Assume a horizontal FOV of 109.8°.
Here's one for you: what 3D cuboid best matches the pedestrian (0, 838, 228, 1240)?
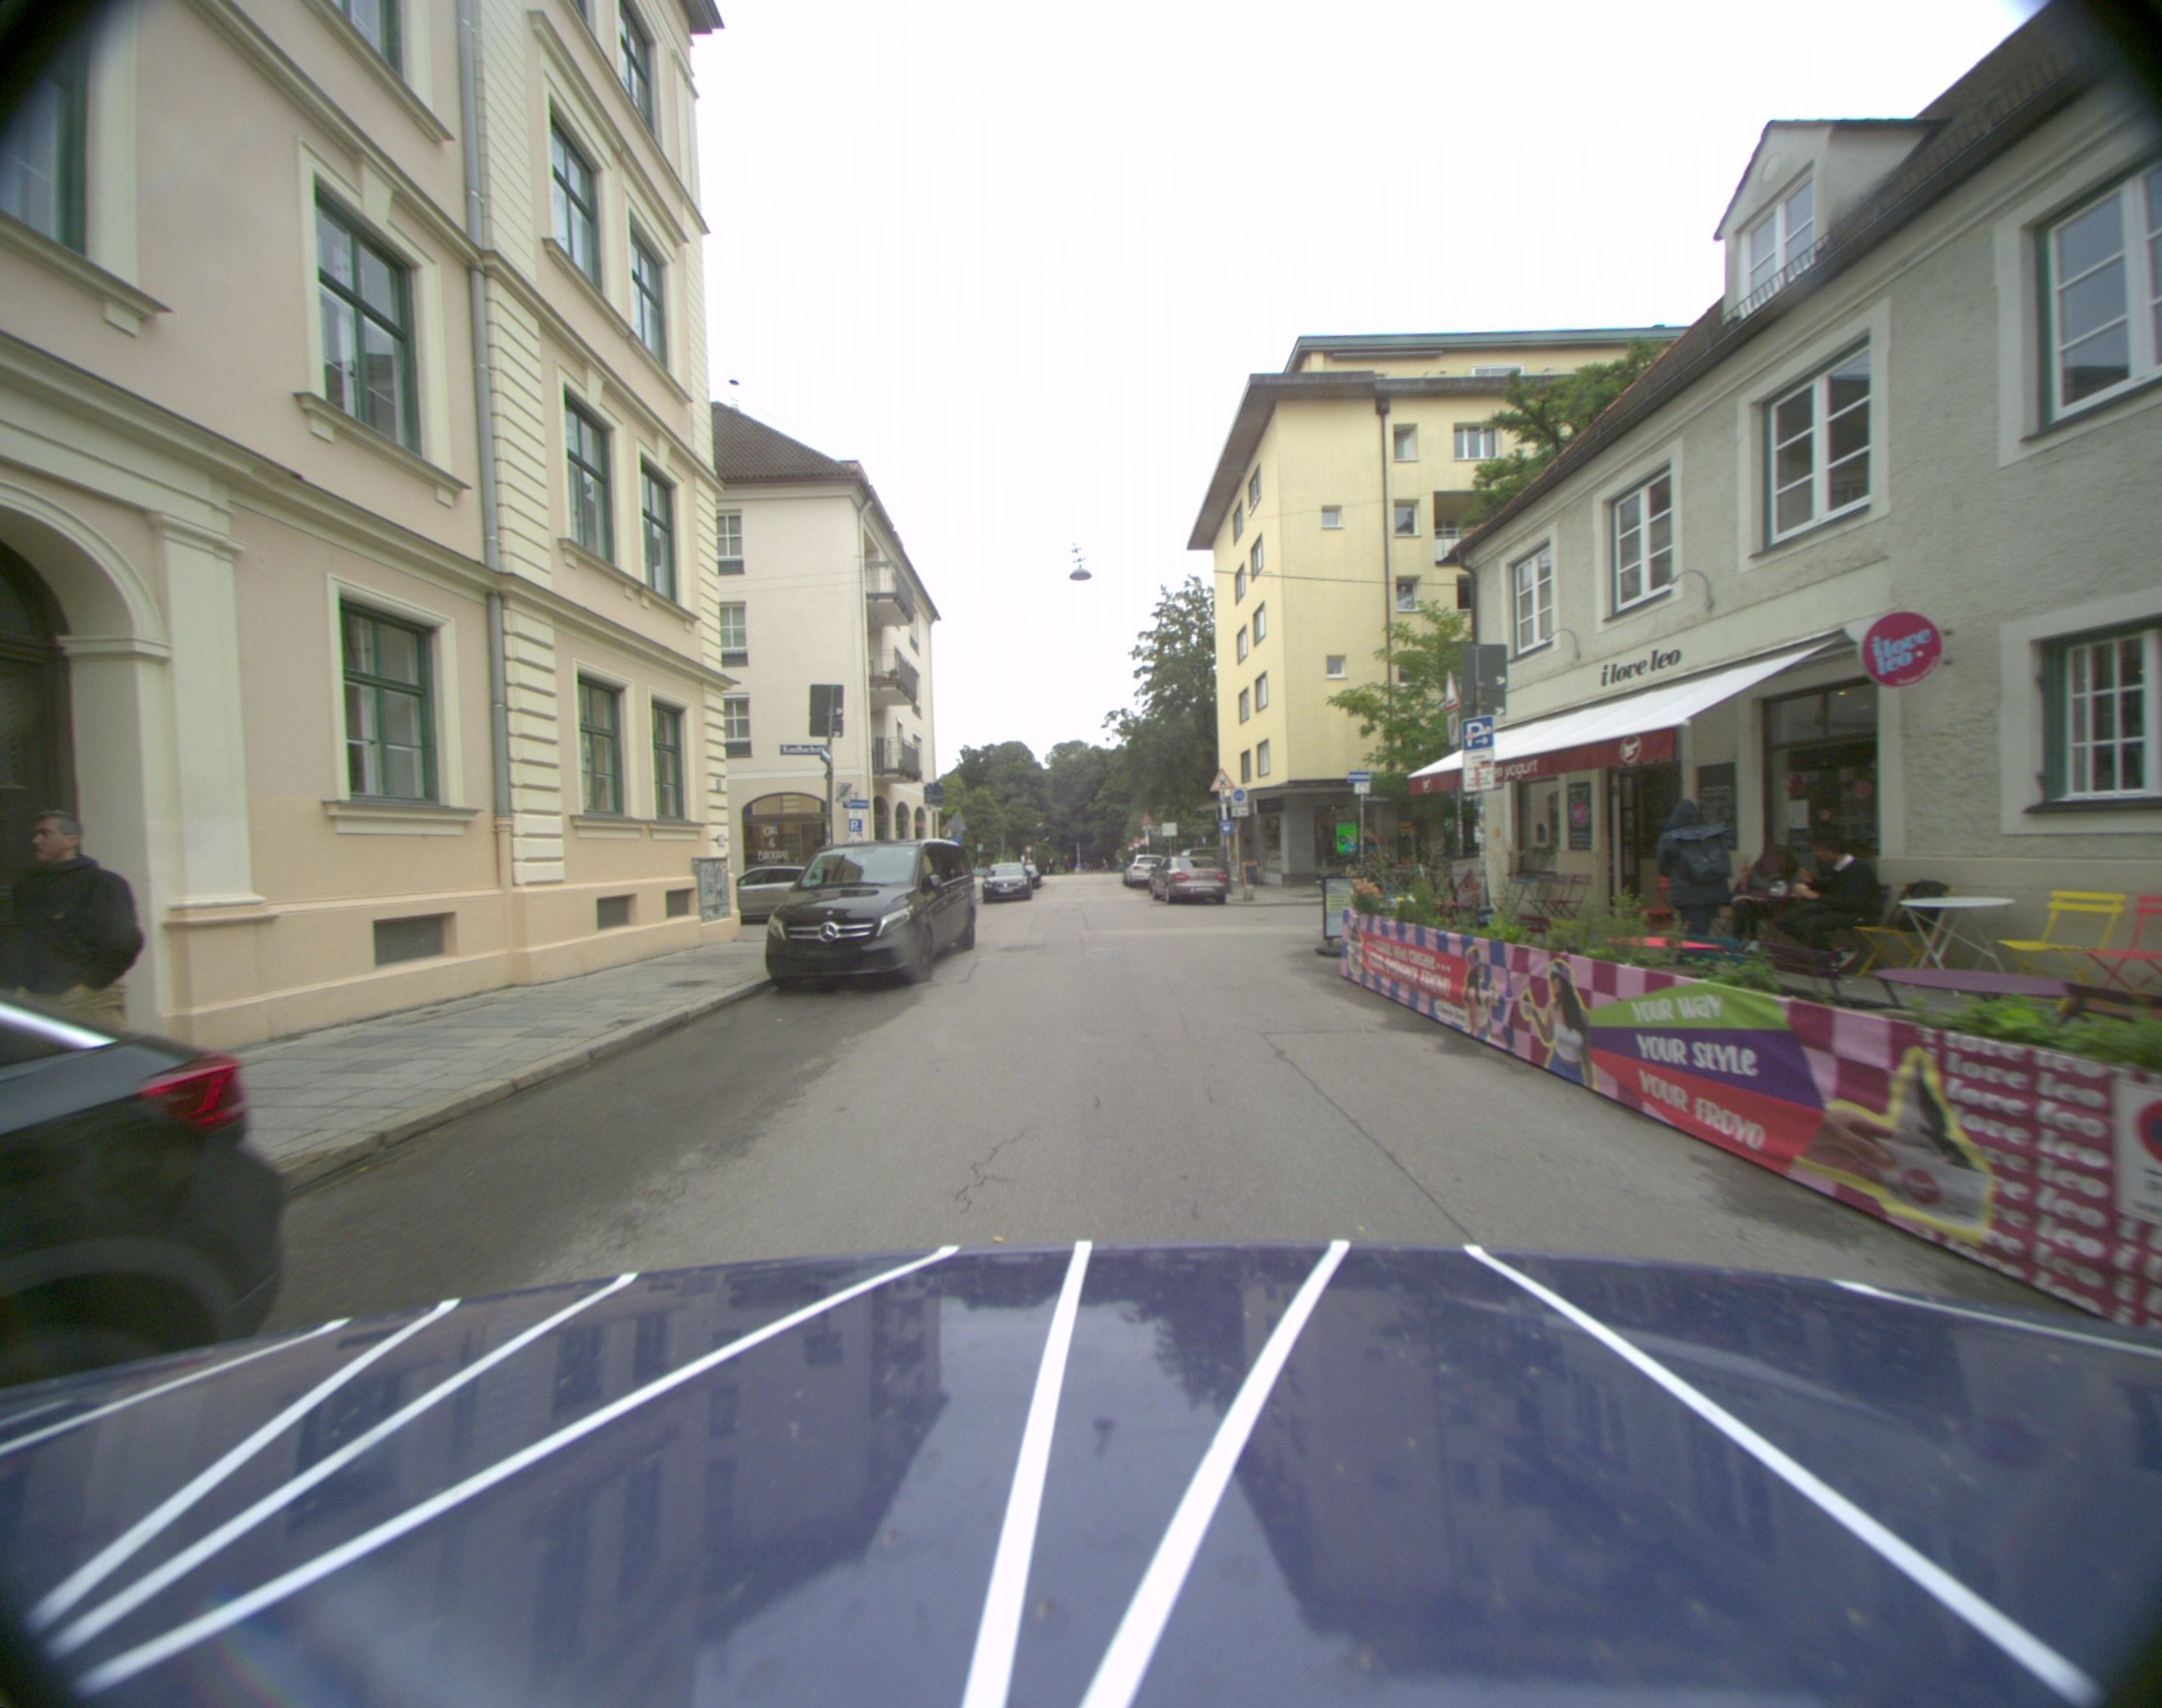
[{"bbox_3d":[-4.991,0.791,3.571,0.721,1.707,1.003,-2,2,-1],"label":"pedestrian"}]

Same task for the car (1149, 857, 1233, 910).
[{"bbox_3d":[3.342,0.841,24.024,1.683,1.463,4.949,-1,0,-3],"label":"car"}]

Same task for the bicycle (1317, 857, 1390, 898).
[{"bbox_3d":[7.603,0.655,21.233,1.822,1.029,0.392,-4,0,3],"label":"bicycle"}]

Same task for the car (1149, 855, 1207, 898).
[{"bbox_3d":[3.584,0.792,28.721,1.683,1.463,4.097,-1,0,1],"label":"car"}]

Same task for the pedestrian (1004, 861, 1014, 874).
[{"bbox_3d":[-7.060,1.348,74.689,0.887,1.227,0.550,-3,-2,-11],"label":"pedestrian"}]

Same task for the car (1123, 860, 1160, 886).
[{"bbox_3d":[3.358,1.042,43.035,1.750,1.402,4.098,-1,0,0],"label":"car"}]

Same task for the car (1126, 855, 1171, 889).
[{"bbox_3d":[3.262,0.865,37.387,1.807,1.574,4.338,-1,-1,0],"label":"car"}]

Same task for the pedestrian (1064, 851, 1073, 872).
[{"bbox_3d":[-1.056,0.650,63.605,0.639,1.662,0.774,-3,-2,1],"label":"pedestrian"}]

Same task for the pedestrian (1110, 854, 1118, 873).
[{"bbox_3d":[3.347,0.953,77.321,0.707,1.892,0.804,-1,-1,0],"label":"pedestrian"}]

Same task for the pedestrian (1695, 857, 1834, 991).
[{"bbox_3d":[7.010,0.696,7.834,0.805,1.283,0.693,-2,2,0],"label":"pedestrian"}]

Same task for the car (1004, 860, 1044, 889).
[{"bbox_3d":[-3.106,1.109,42.463,1.807,1.402,4.656,-3,0,0],"label":"car"}]

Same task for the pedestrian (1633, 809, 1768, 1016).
[{"bbox_3d":[5.656,0.499,6.986,0.530,1.772,0.877,-2,2,0],"label":"pedestrian"}]

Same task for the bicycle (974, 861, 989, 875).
[{"bbox_3d":[-8.957,1.278,68.457,0.202,1.184,1.658,-1,-2,41],"label":"bicycle"}]

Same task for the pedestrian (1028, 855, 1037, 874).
[{"bbox_3d":[-4.436,0.950,69.863,0.653,1.676,0.976,-3,-2,1],"label":"pedestrian"}]

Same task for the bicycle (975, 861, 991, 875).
[{"bbox_3d":[-8.812,1.266,68.323,0.169,1.191,1.658,-1,-2,41],"label":"bicycle"}]

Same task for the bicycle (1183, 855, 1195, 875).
[{"bbox_3d":[6.868,0.696,48.451,0.563,1.203,1.854,-3,1,2],"label":"bicycle"}]

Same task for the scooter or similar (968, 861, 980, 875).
[{"bbox_3d":[-9.325,1.208,66.476,1.114,1.205,0.324,-2,-1,37],"label":"scooter or similar"}]

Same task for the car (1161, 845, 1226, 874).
[{"bbox_3d":[8.458,0.393,57.335,4.422,1.990,1.933,-2,2,-15],"label":"car"}]

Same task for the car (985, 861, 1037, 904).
[{"bbox_3d":[-2.631,1.039,29.283,1.680,1.416,4.203,-4,0,-2],"label":"car"}]

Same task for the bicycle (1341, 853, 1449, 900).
[{"bbox_3d":[9.448,0.680,22.936,2.849,1.205,0.817,-3,2,3],"label":"bicycle"}]

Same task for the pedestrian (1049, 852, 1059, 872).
[{"bbox_3d":[-2.253,0.669,63.546,0.686,1.662,0.774,-3,-2,1],"label":"pedestrian"}]

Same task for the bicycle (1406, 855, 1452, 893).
[{"bbox_3d":[9.674,0.526,21.183,0.381,0.960,1.715,-4,2,-3],"label":"bicycle"}]

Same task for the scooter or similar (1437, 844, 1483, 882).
[{"bbox_3d":[12.835,0.289,25.714,1.205,1.194,0.996,-3,3,-41],"label":"scooter or similar"}]

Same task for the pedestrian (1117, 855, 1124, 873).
[{"bbox_3d":[4.054,0.999,77.345,0.634,1.770,0.801,-1,-1,0],"label":"pedestrian"}]

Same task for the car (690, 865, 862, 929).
[{"bbox_3d":[-8.441,1.176,21.301,4.099,1.595,1.755,-2,-1,-2],"label":"car"}]

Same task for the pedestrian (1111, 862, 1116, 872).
[{"bbox_3d":[5.783,2.306,135.260,0.686,1.662,0.774,-3,-2,1],"label":"pedestrian"}]

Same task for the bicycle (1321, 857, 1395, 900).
[{"bbox_3d":[7.586,0.667,20.830,1.822,1.029,0.392,-4,0,3],"label":"bicycle"}]

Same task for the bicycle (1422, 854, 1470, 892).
[{"bbox_3d":[10.169,0.509,21.213,0.381,0.960,1.715,-4,2,-3],"label":"bicycle"}]

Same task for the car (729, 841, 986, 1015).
[{"bbox_3d":[-2.818,0.816,11.092,2.002,1.853,5.253,-3,0,1],"label":"car"}]

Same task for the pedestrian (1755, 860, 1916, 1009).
[{"bbox_3d":[7.021,0.722,7.110,0.805,1.283,0.693,-2,2,0],"label":"pedestrian"}]

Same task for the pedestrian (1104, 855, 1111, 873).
[{"bbox_3d":[2.767,1.067,79.482,0.751,1.822,1.115,-1,-1,0],"label":"pedestrian"}]
